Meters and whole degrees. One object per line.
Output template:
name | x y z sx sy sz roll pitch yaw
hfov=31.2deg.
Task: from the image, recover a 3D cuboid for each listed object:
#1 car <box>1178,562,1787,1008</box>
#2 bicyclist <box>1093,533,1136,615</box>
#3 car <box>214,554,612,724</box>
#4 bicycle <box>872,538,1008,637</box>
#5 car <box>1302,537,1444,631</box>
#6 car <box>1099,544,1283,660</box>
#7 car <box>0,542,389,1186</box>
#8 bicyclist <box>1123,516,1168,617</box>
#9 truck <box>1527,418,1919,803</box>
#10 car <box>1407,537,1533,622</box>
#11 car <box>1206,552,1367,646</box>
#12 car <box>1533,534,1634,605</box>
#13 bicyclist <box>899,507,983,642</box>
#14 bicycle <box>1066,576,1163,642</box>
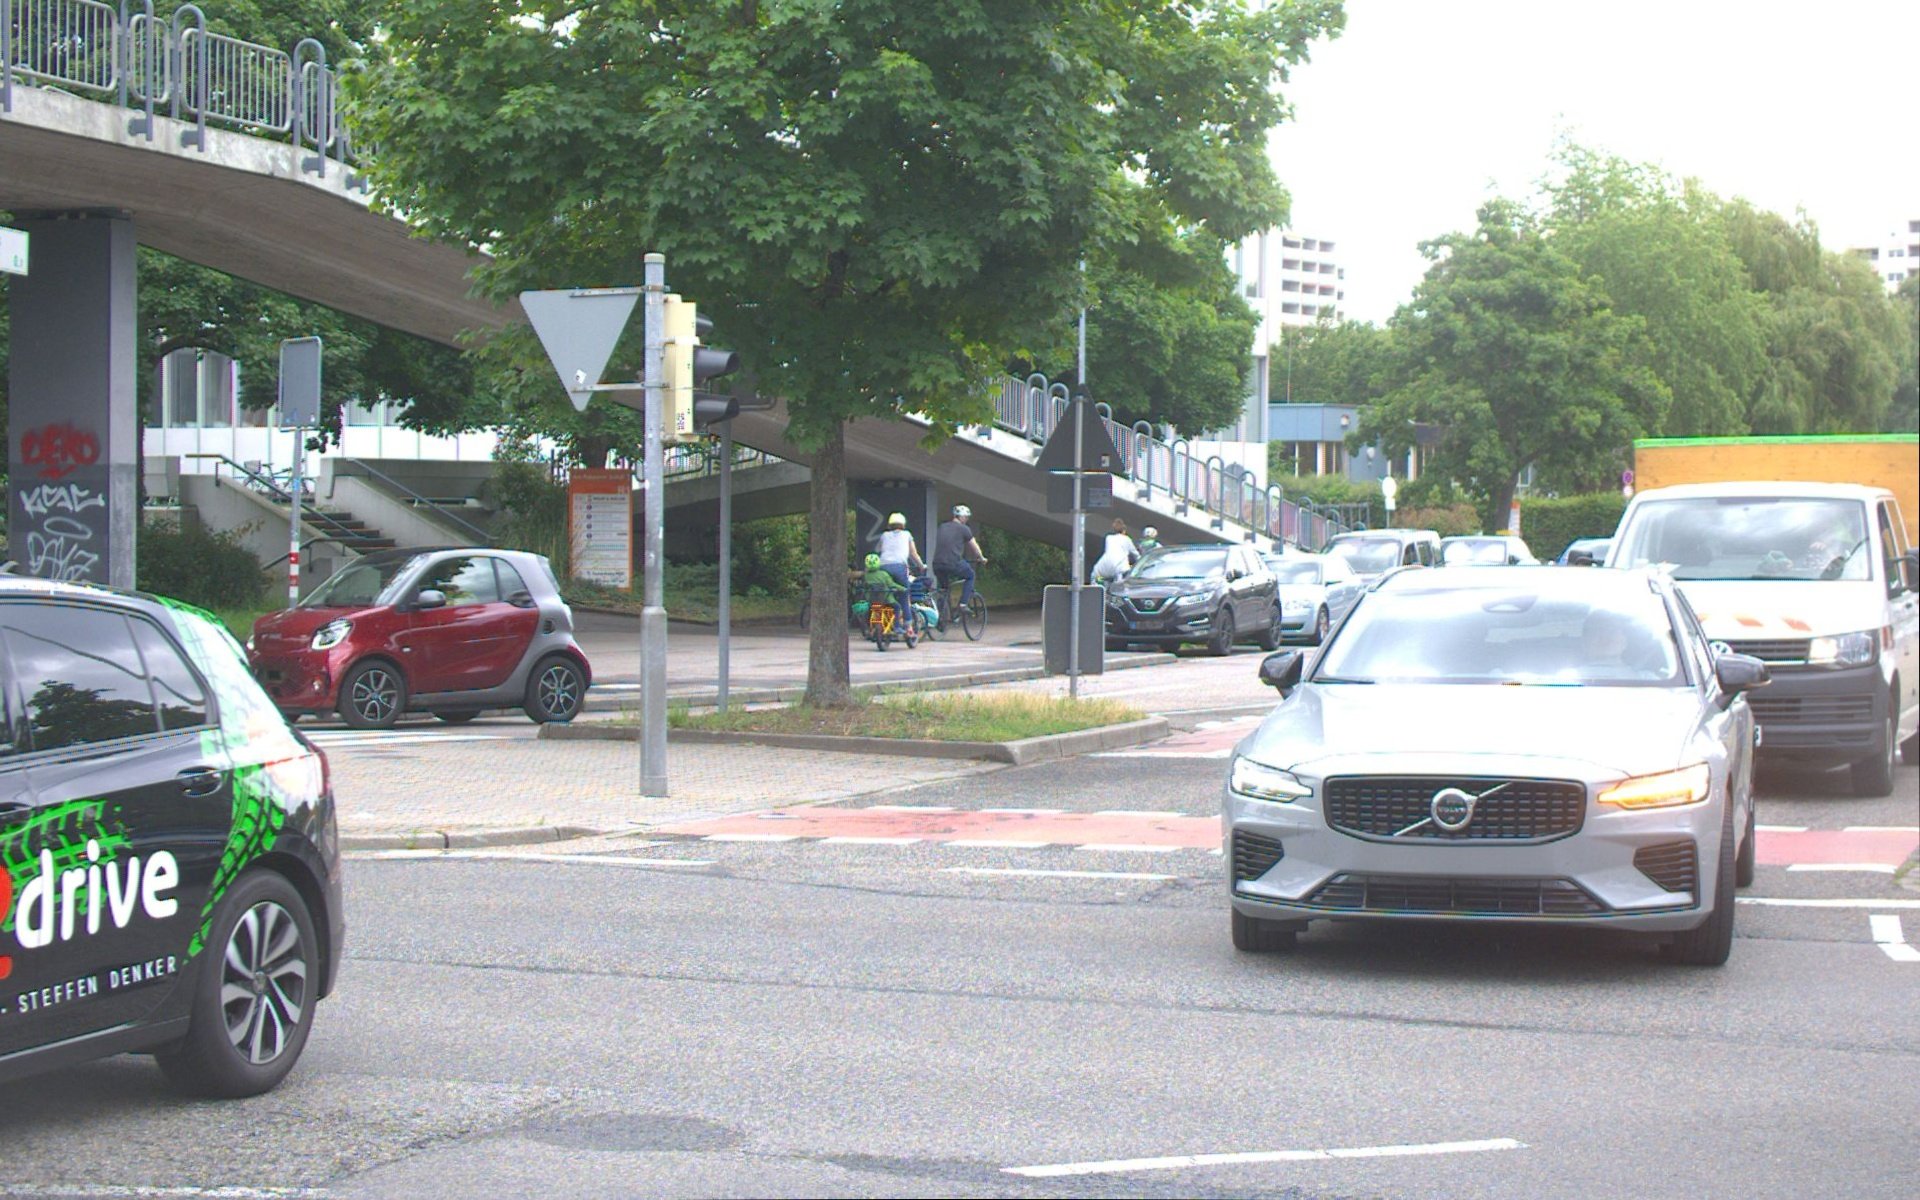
car | 2.316 0.595 14.065 1.898 1.415 4.733 1 2 15
bicyclist | 2.358 -0.399 52.464 0.405 1.177 0.377 10 5 20
car | -4.639 0.297 29.300 2.964 1.341 1.563 -1 2 -42
bicycle | -0.258 -0.201 49.463 0.857 1.310 3.227 1 2 21
car | 7.241 -0.306 59.984 1.673 1.546 3.758 1 2 19
car | 3.392 -0.007 49.876 1.673 1.546 3.888 1 2 19
car | -3.168 0.617 7.966 1.771 1.472 4.386 1 2 19
bicyclist | 3.031 -0.543 56.208 0.565 1.639 0.531 1 1 22
truck | 5.330 -0.026 22.742 2.157 2.191 5.835 1 2 19
car | 9.924 -0.427 66.709 1.673 1.546 3.996 1 2 19
car | 5.266 -0.050 55.037 1.673 1.382 3.892 1 2 19
car | 14.356 -0.730 79.003 1.673 1.546 3.996 1 2 19
bicyclist | -0.270 -0.379 49.463 0.857 1.886 1.126 1 2 21
bicycle | 2.365 0.124 52.507 0.763 0.946 1.951 1 2 26
